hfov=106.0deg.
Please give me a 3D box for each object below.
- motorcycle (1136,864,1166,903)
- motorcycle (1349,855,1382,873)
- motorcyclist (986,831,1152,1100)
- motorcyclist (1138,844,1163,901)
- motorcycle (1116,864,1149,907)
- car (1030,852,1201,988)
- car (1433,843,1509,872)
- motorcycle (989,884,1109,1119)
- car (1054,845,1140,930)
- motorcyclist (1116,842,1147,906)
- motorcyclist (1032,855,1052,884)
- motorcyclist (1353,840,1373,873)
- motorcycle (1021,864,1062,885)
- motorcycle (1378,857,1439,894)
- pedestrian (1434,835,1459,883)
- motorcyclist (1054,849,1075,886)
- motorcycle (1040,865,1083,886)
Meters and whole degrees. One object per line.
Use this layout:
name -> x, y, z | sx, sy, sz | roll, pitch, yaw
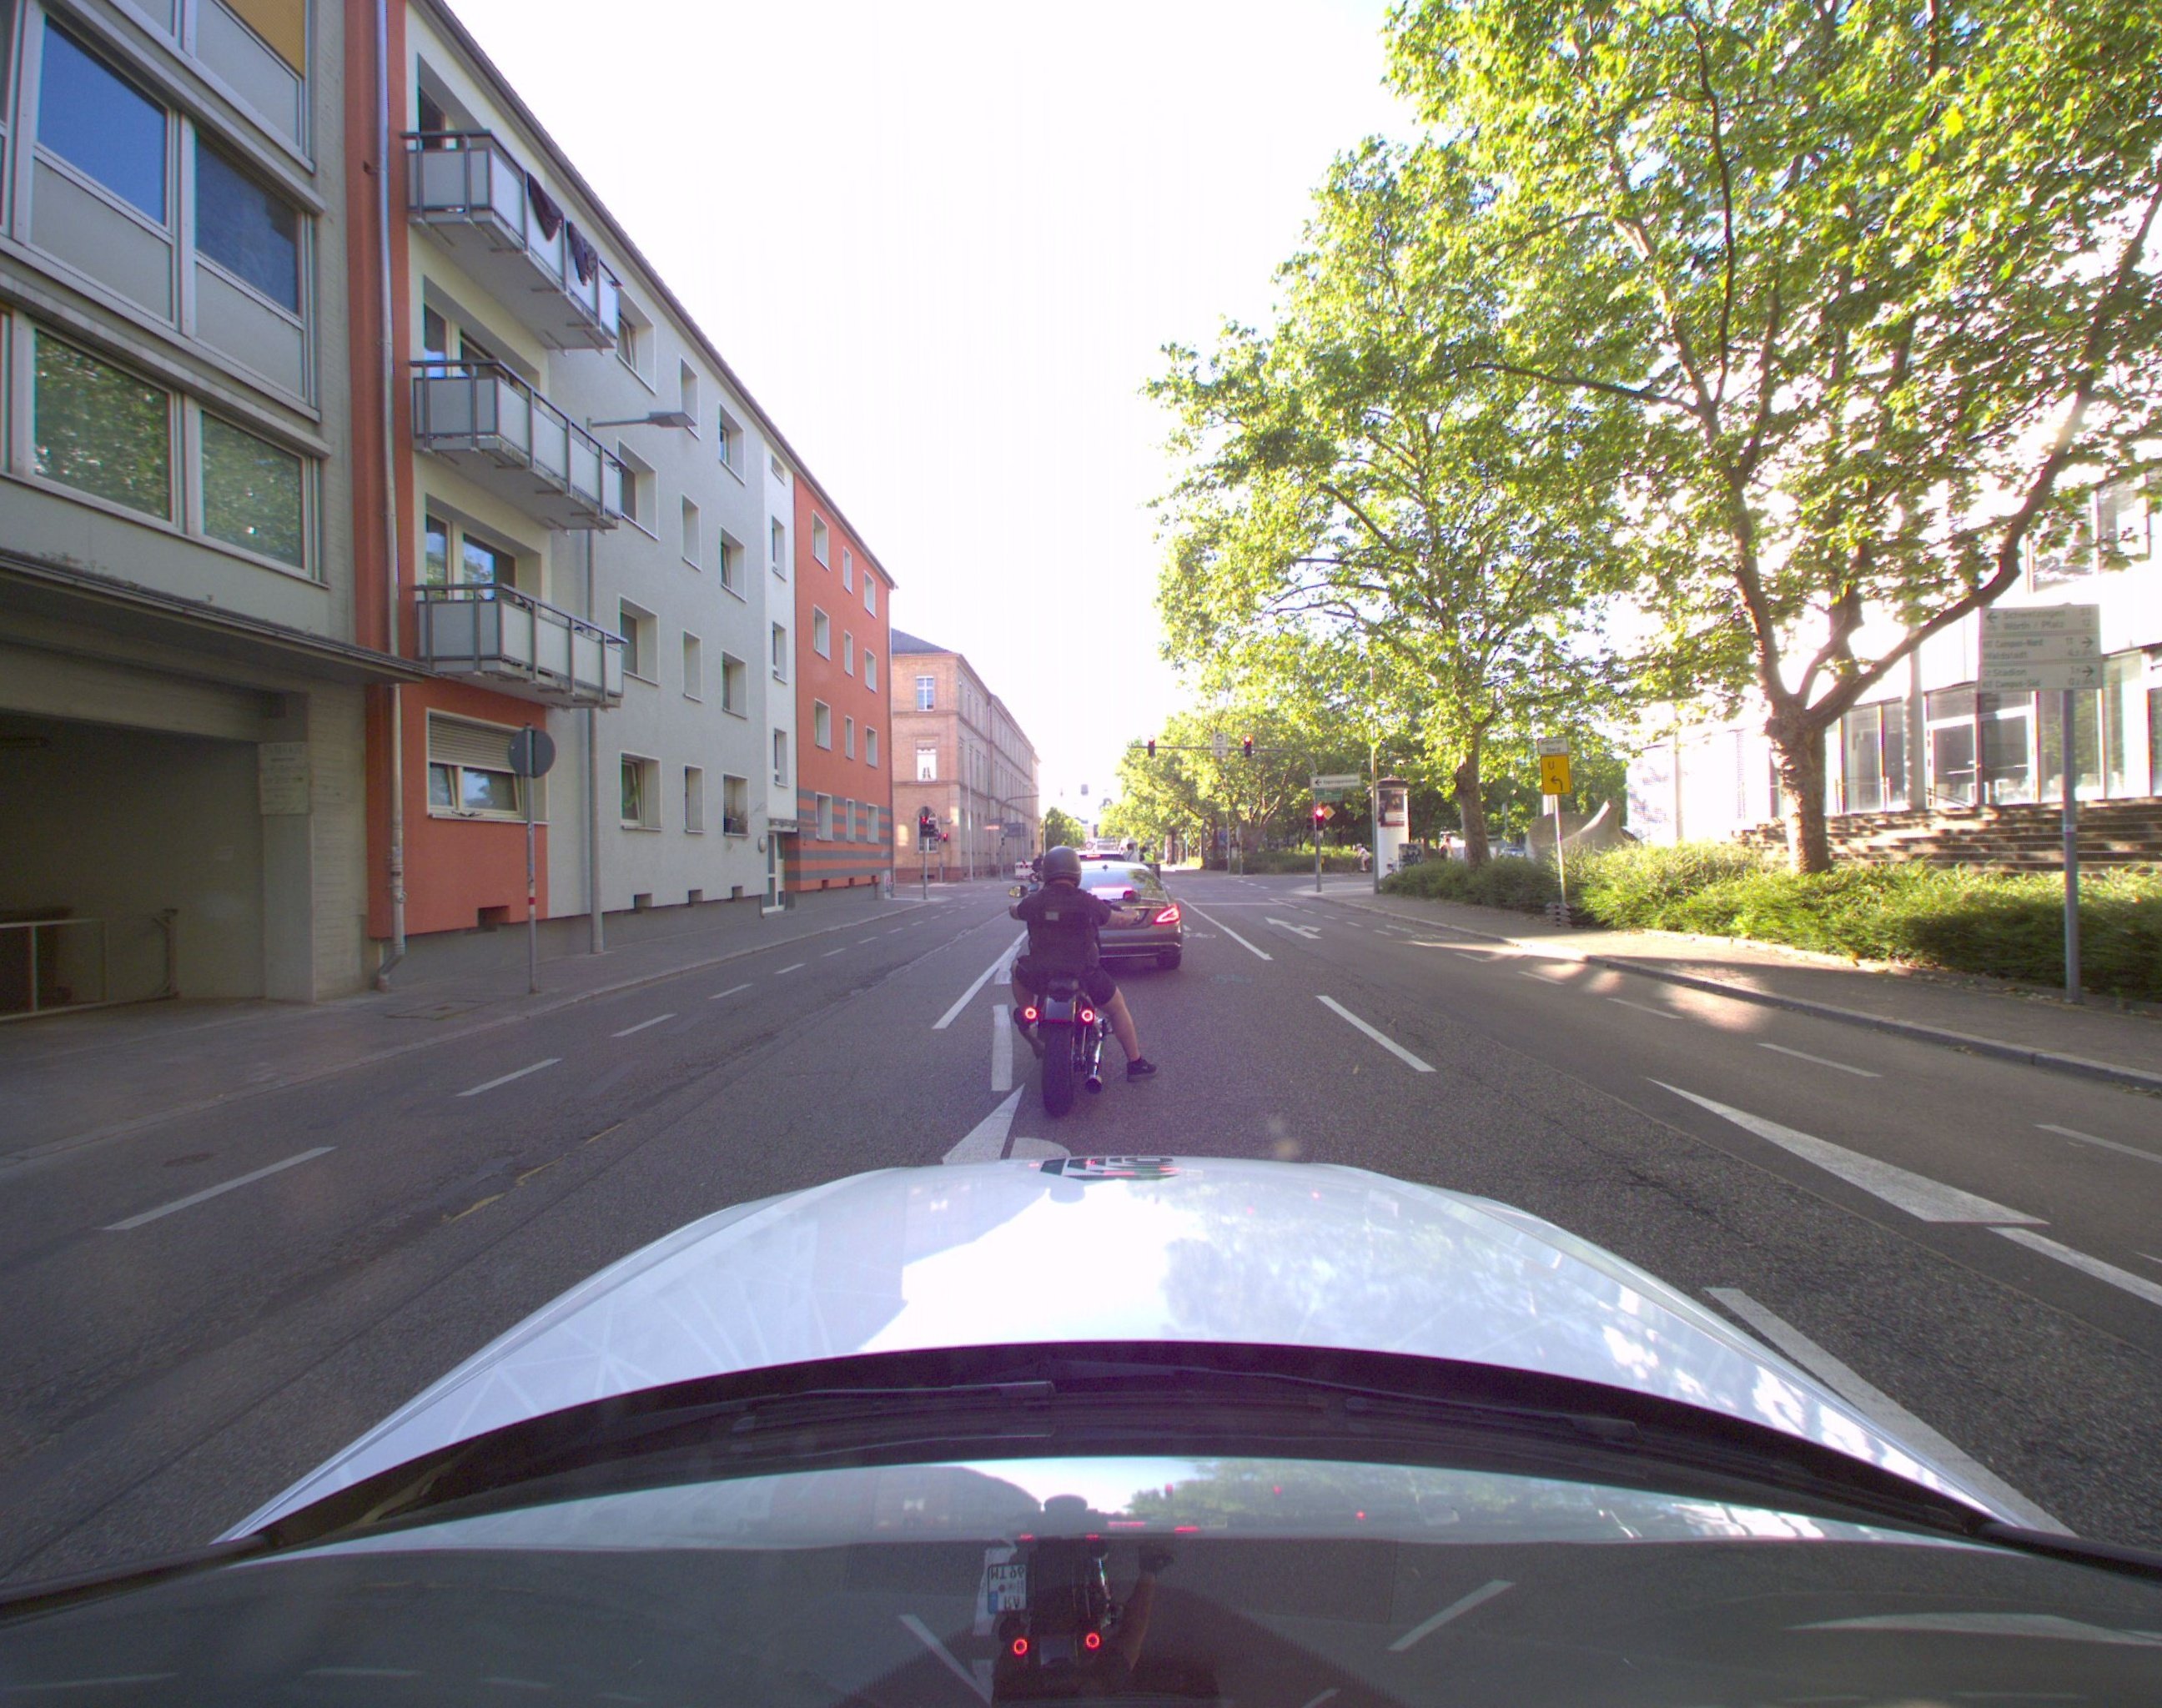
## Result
motorcycle -> 2.144, 0.899, 25.257 | 0.794, 1.131, 2.237 | 0, -1, 2
motorcycle -> 16.311, 0.568, 46.744 | 1.710, 1.002, 0.416 | -1, 0, 6
motorcyclist -> -0.055, 0.673, 5.458 | 0.986, 1.611, 1.121 | 0, -1, 1
motorcyclist -> 2.159, 0.584, 25.401 | 0.714, 1.743, 0.751 | 0, -1, 1
motorcycle -> 1.428, 0.860, 22.999 | 0.859, 1.168, 1.930 | 0, -1, 2
car -> 0.259, 0.747, 11.253 | 1.821, 1.486, 4.325 | 0, -1, -5
car -> 24.629, 0.217, 51.532 | 3.974, 1.772, 1.738 | -1, 0, -1
motorcycle -> -0.143, 0.857, 5.551 | 0.657, 1.240, 2.058 | 0, -1, 2
car -> 0.374, 0.668, 17.798 | 1.645, 1.652, 4.002 | 0, -1, 2
motorcyclist -> 1.431, 0.555, 23.170 | 0.828, 1.788, 0.913 | 0, -1, 1
motorcyclist -> -2.097, 0.830, 43.373 | 0.941, 1.537, 0.642 | 0, -1, -15
motorcyclist -> 16.183, 0.132, 46.789 | 0.978, 1.876, 0.377 | -1, -1, 6
motorcycle -> -2.109, 1.064, 43.359 | 2.084, 1.097, 0.625 | 0, -1, -15
motorcycle -> 11.070, 0.718, 27.553 | 1.771, 1.243, 0.724 | 0, -1, 7
pedestrian -> 14.190, 0.181, 31.591 | 0.645, 1.827, 0.667 | -1, 0, 1
motorcyclist -> -0.788, 0.635, 38.713 | 0.981, 1.722, 0.551 | 0, -1, 2
motorcycle -> -0.927, 1.021, 38.711 | 2.004, 0.962, 0.581 | 0, -1, 2
